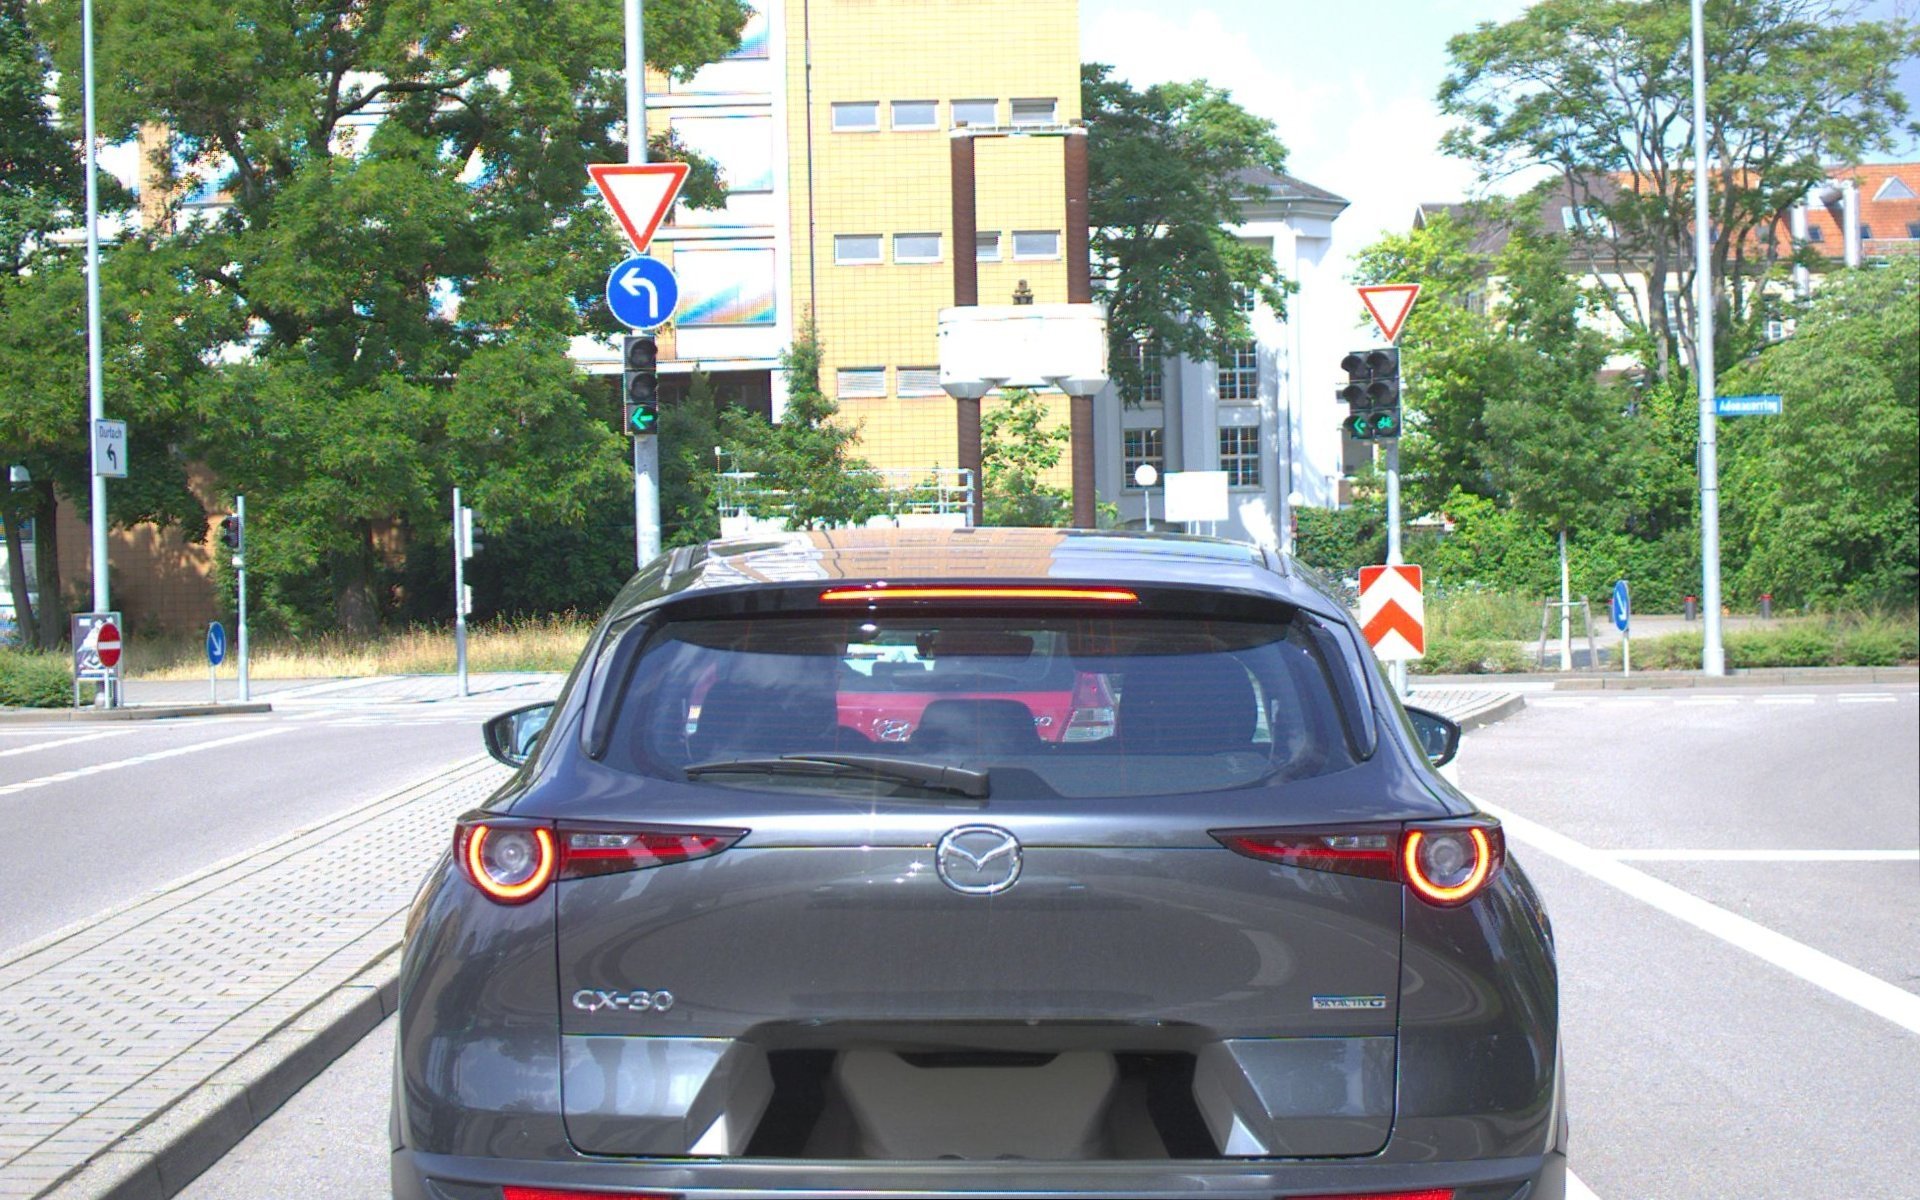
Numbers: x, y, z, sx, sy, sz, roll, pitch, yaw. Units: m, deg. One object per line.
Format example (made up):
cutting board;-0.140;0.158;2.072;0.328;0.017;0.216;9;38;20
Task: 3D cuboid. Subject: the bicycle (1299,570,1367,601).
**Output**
bicycle;11.993;-0.466;110.548;2.055;0.933;0.804;-1;0;-1

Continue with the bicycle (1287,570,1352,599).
bicycle;12.055;-0.515;115.408;2.055;0.933;0.804;-1;0;-1

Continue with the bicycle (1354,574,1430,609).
bicycle;12.354;-0.244;98.356;2.055;0.933;0.804;-1;0;-1

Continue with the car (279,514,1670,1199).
car;-0.011;0.630;6.615;1.806;1.503;4.205;1;1;-1

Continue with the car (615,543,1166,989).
car;-0.193;0.521;13.509;1.816;1.434;4.067;1;1;1

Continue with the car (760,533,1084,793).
car;-0.198;0.345;22.233;1.848;1.467;4.335;-2;1;1

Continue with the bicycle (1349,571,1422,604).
bicycle;12.666;-0.376;102.349;2.055;0.933;0.804;-1;0;-1
